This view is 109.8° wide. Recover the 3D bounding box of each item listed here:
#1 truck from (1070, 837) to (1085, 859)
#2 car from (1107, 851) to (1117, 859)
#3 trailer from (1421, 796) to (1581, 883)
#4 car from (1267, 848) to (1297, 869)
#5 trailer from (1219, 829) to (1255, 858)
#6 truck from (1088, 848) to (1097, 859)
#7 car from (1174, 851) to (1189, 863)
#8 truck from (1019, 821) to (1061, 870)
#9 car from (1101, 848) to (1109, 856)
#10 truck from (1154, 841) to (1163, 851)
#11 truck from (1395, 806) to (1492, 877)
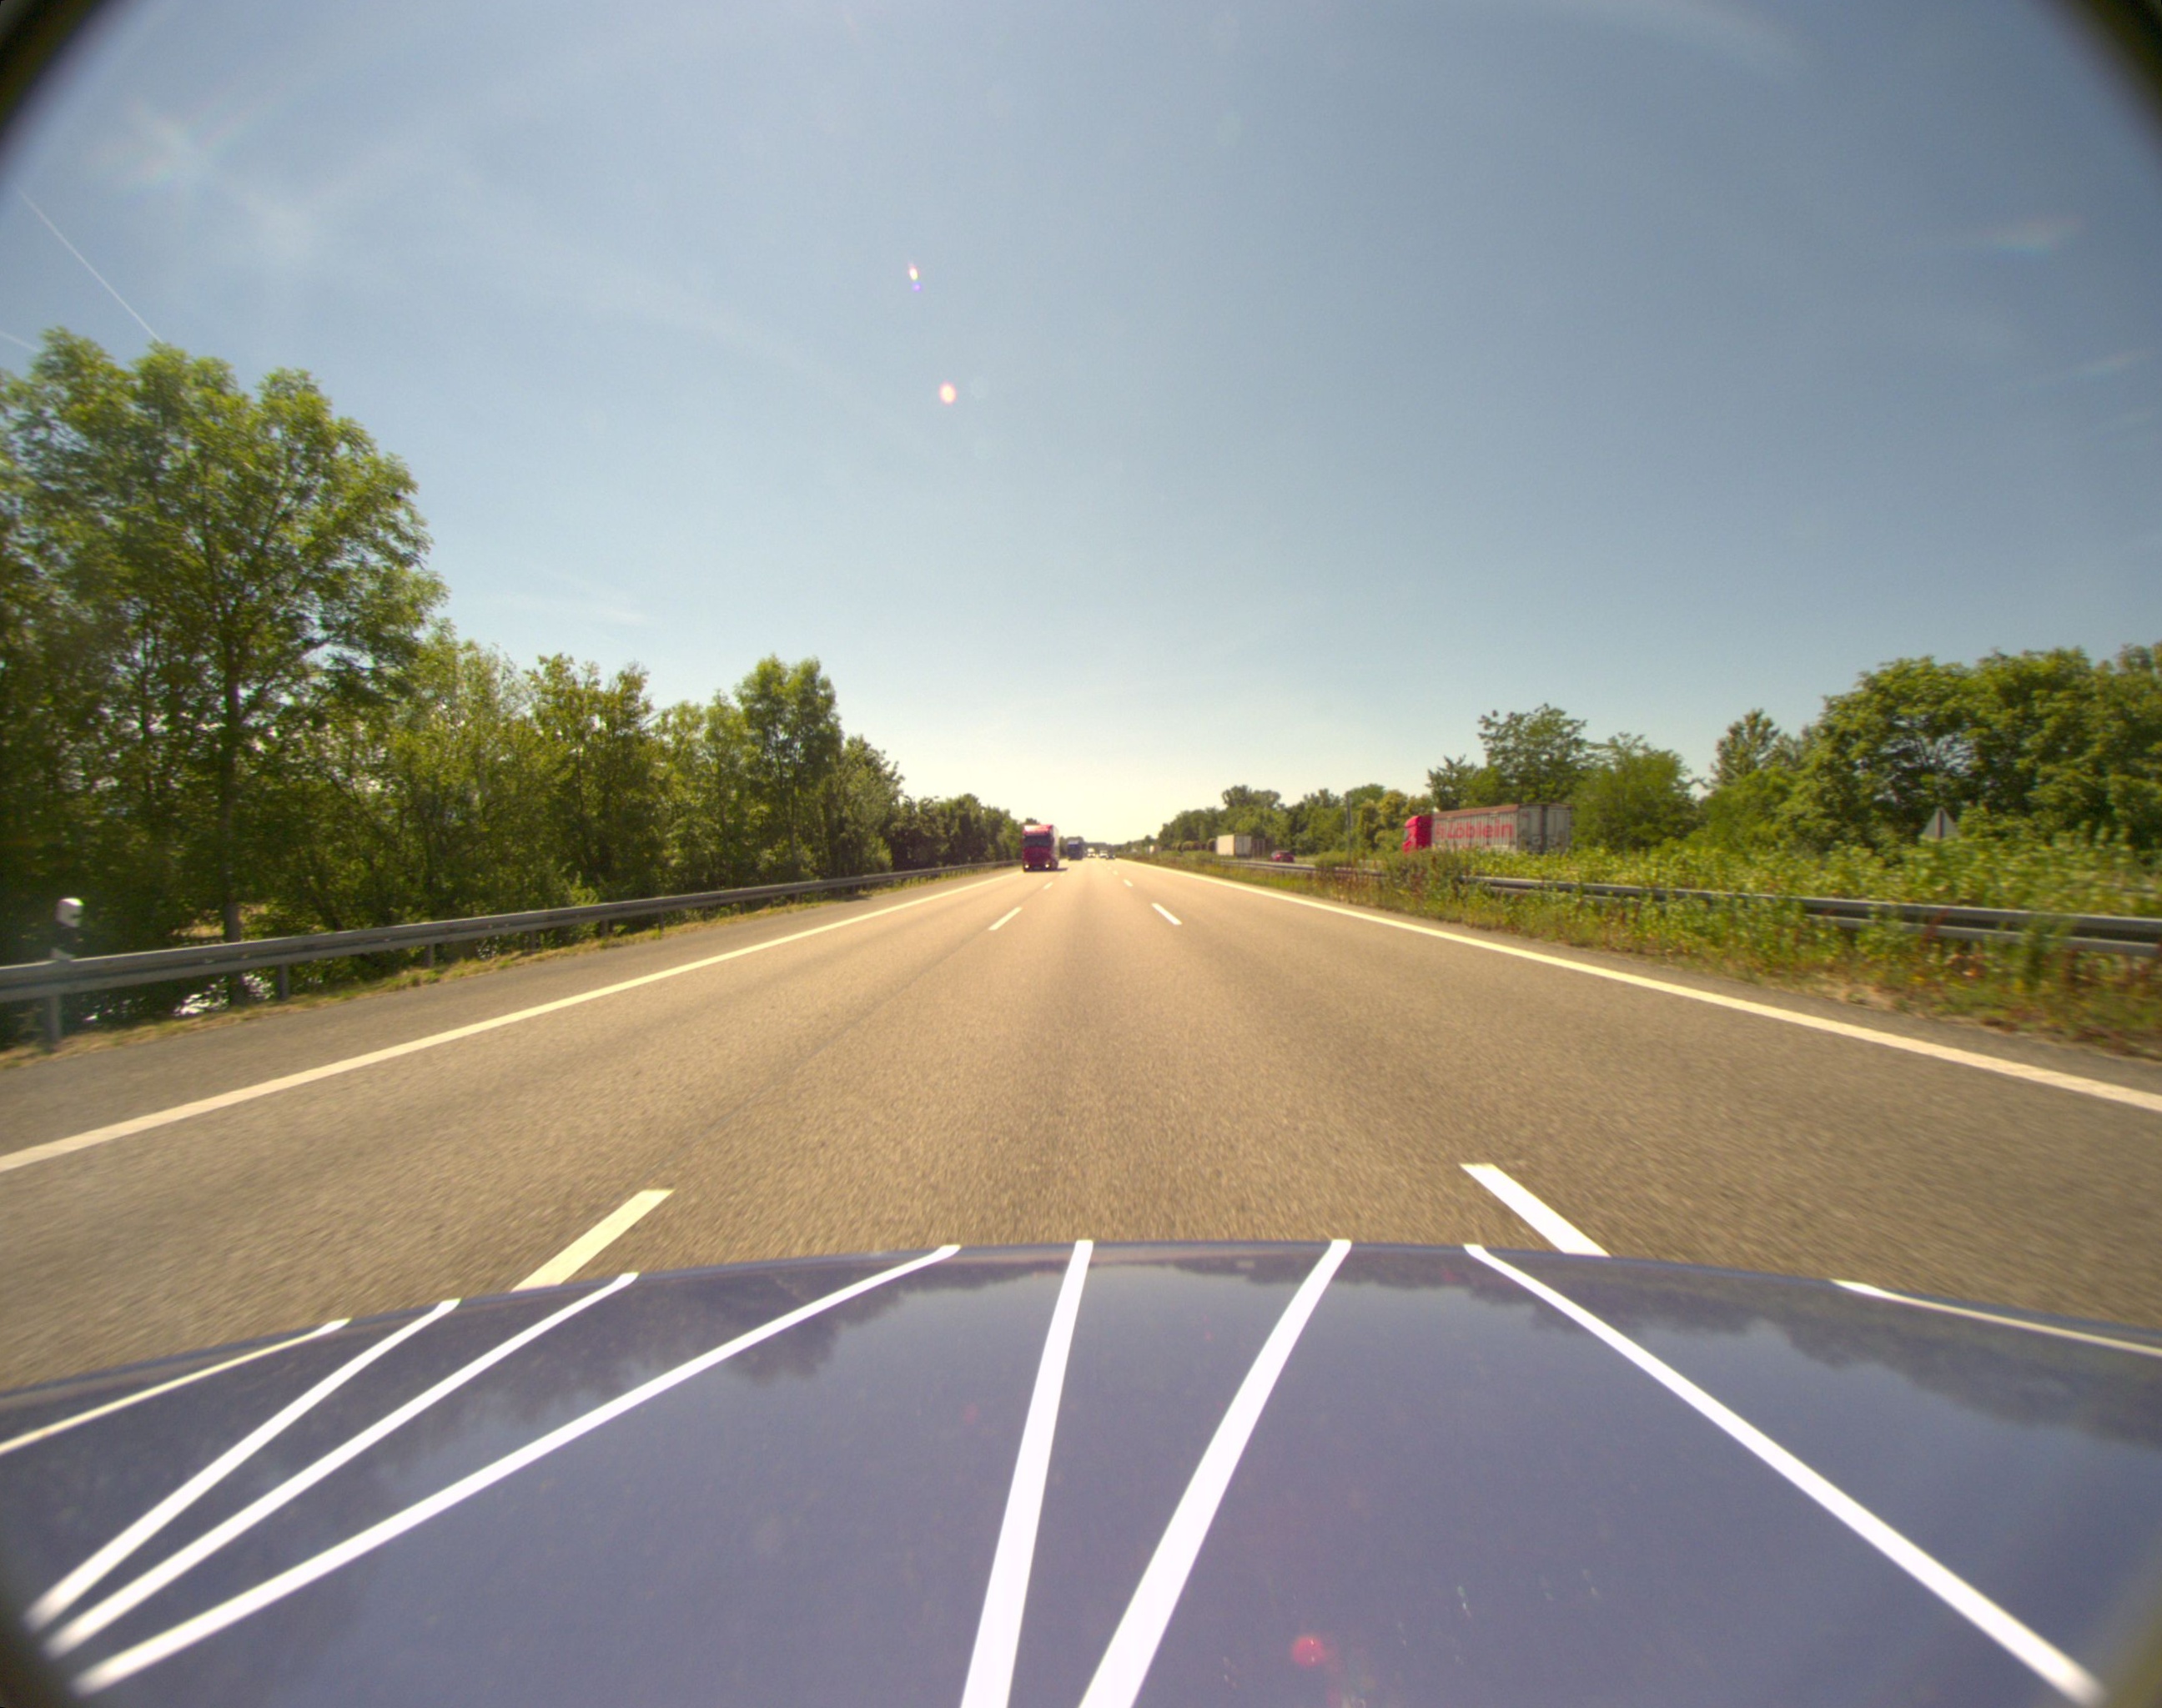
[{"bbox_3d":[-0.708,-1.239,159.447,2.938,4.429,10.259,-2,1,1],"label":"truck"},{"bbox_3d":[6.111,0.230,150.647,1.736,1.434,4.000,-2,1,1],"label":"car"},{"bbox_3d":[22.062,-0.722,40.916,2.939,3.952,10.628,-2,1,2],"label":"trailer"},{"bbox_3d":[18.240,0.376,69.068,1.819,1.712,4.000,-2,1,3],"label":"car"},{"bbox_3d":[23.089,-1.507,112.883,2.939,3.952,12.320,-2,1,1],"label":"trailer"},{"bbox_3d":[3.532,-0.263,237.435,2.726,3.391,9.769,-2,1,1],"label":"truck"},{"bbox_3d":[15.659,0.426,118.857,1.879,1.859,4.180,-2,0,2],"label":"car"},{"bbox_3d":[-3.509,-0.772,68.248,2.938,3.934,10.259,-2,1,1],"label":"truck"},{"bbox_3d":[6.016,-0.569,191.200,1.998,2.002,4.755,-2,1,1],"label":"car"},{"bbox_3d":[25.241,-2.551,247.167,2.399,2.982,5.184,-2,1,1],"label":"truck"},{"bbox_3d":[22.177,-0.746,46.876,2.967,3.953,6.362,-2,1,1],"label":"truck"}]
